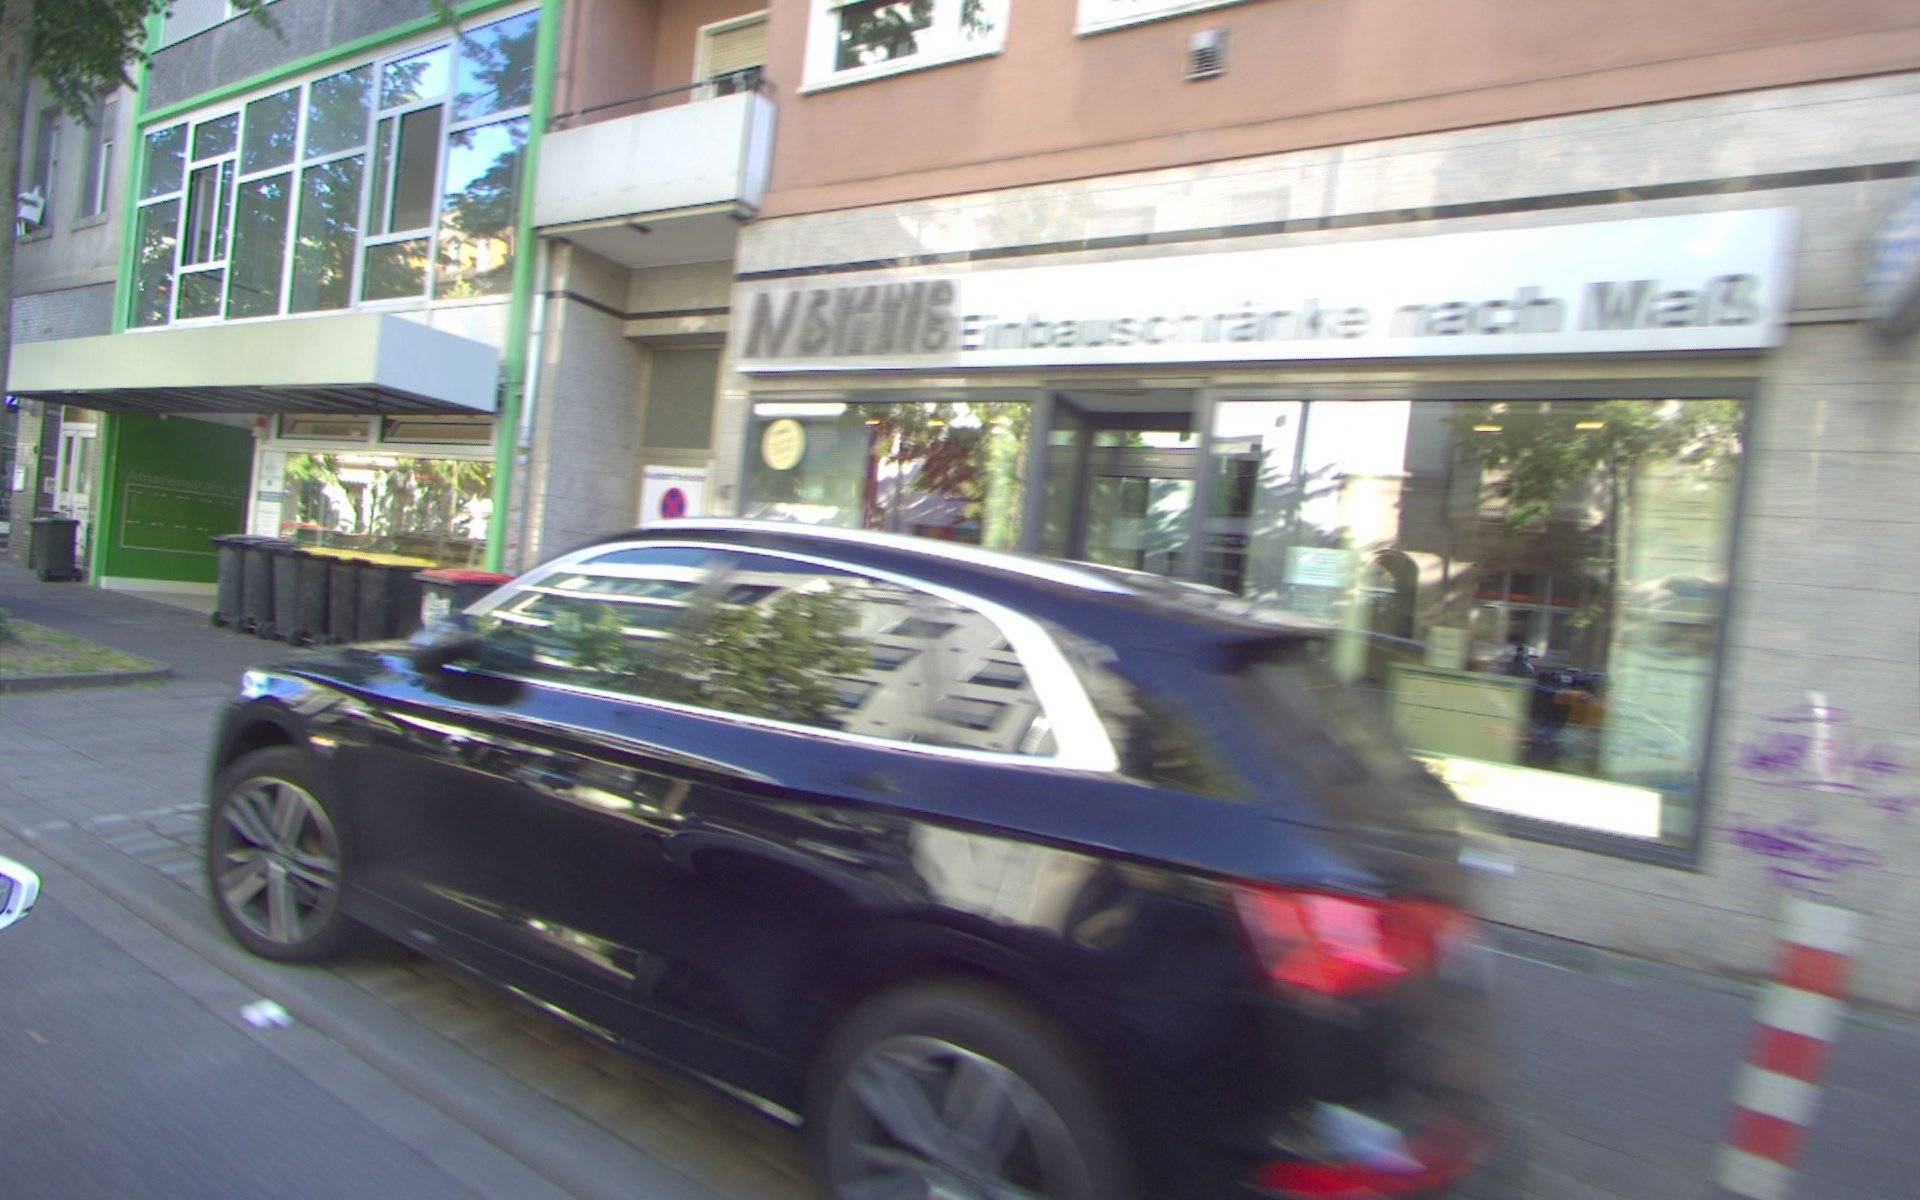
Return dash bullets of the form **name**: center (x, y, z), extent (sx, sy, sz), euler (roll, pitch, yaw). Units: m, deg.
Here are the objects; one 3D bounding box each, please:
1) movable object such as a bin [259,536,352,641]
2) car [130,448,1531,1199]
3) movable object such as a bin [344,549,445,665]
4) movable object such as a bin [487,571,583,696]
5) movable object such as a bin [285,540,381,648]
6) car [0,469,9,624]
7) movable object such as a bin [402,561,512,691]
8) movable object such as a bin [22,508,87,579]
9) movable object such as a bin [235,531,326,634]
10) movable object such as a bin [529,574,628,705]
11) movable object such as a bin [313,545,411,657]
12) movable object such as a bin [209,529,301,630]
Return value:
- **movable object such as a bin**: center (-7.224, -0.120, 11.111), extent (0.580, 1.078, 0.614), euler (7, 2, 32)
- **car**: center (-0.689, 0.531, 3.480), extent (4.440, 1.713, 1.993), euler (7, 4, 31)
- **movable object such as a bin**: center (-5.685, 0.074, 10.120), extent (0.580, 1.078, 0.611), euler (7, 2, 32)
- **movable object such as a bin**: center (-3.934, 0.308, 9.315), extent (0.564, 1.078, 0.499), euler (7, 2, 32)
- **movable object such as a bin**: center (-6.715, -0.056, 10.785), extent (0.580, 1.078, 0.614), euler (7, 2, 32)
- **car**: center (-11.838, -0.769, 10.374), extent (4.163, 1.548, 1.883), euler (7, 3, 31)
- **movable object such as a bin**: center (-4.638, 0.242, 9.286), extent (0.564, 1.109, 0.625), euler (7, 2, 32)
- **movable object such as a bin**: center (-13.569, -0.842, 15.075), extent (0.644, 0.969, 0.523), euler (7, 2, 32)
- **movable object such as a bin**: center (-7.708, -0.197, 11.420), extent (0.580, 1.078, 0.614), euler (7, 2, 32)
- **movable object such as a bin**: center (-3.403, 0.349, 8.977), extent (0.564, 1.078, 0.499), euler (7, 2, 32)
- **movable object such as a bin**: center (-6.209, 0.012, 10.450), extent (0.580, 1.078, 0.614), euler (7, 2, 32)
- **movable object such as a bin**: center (-8.227, -0.235, 11.743), extent (0.644, 1.078, 0.614), euler (7, 2, 32)
